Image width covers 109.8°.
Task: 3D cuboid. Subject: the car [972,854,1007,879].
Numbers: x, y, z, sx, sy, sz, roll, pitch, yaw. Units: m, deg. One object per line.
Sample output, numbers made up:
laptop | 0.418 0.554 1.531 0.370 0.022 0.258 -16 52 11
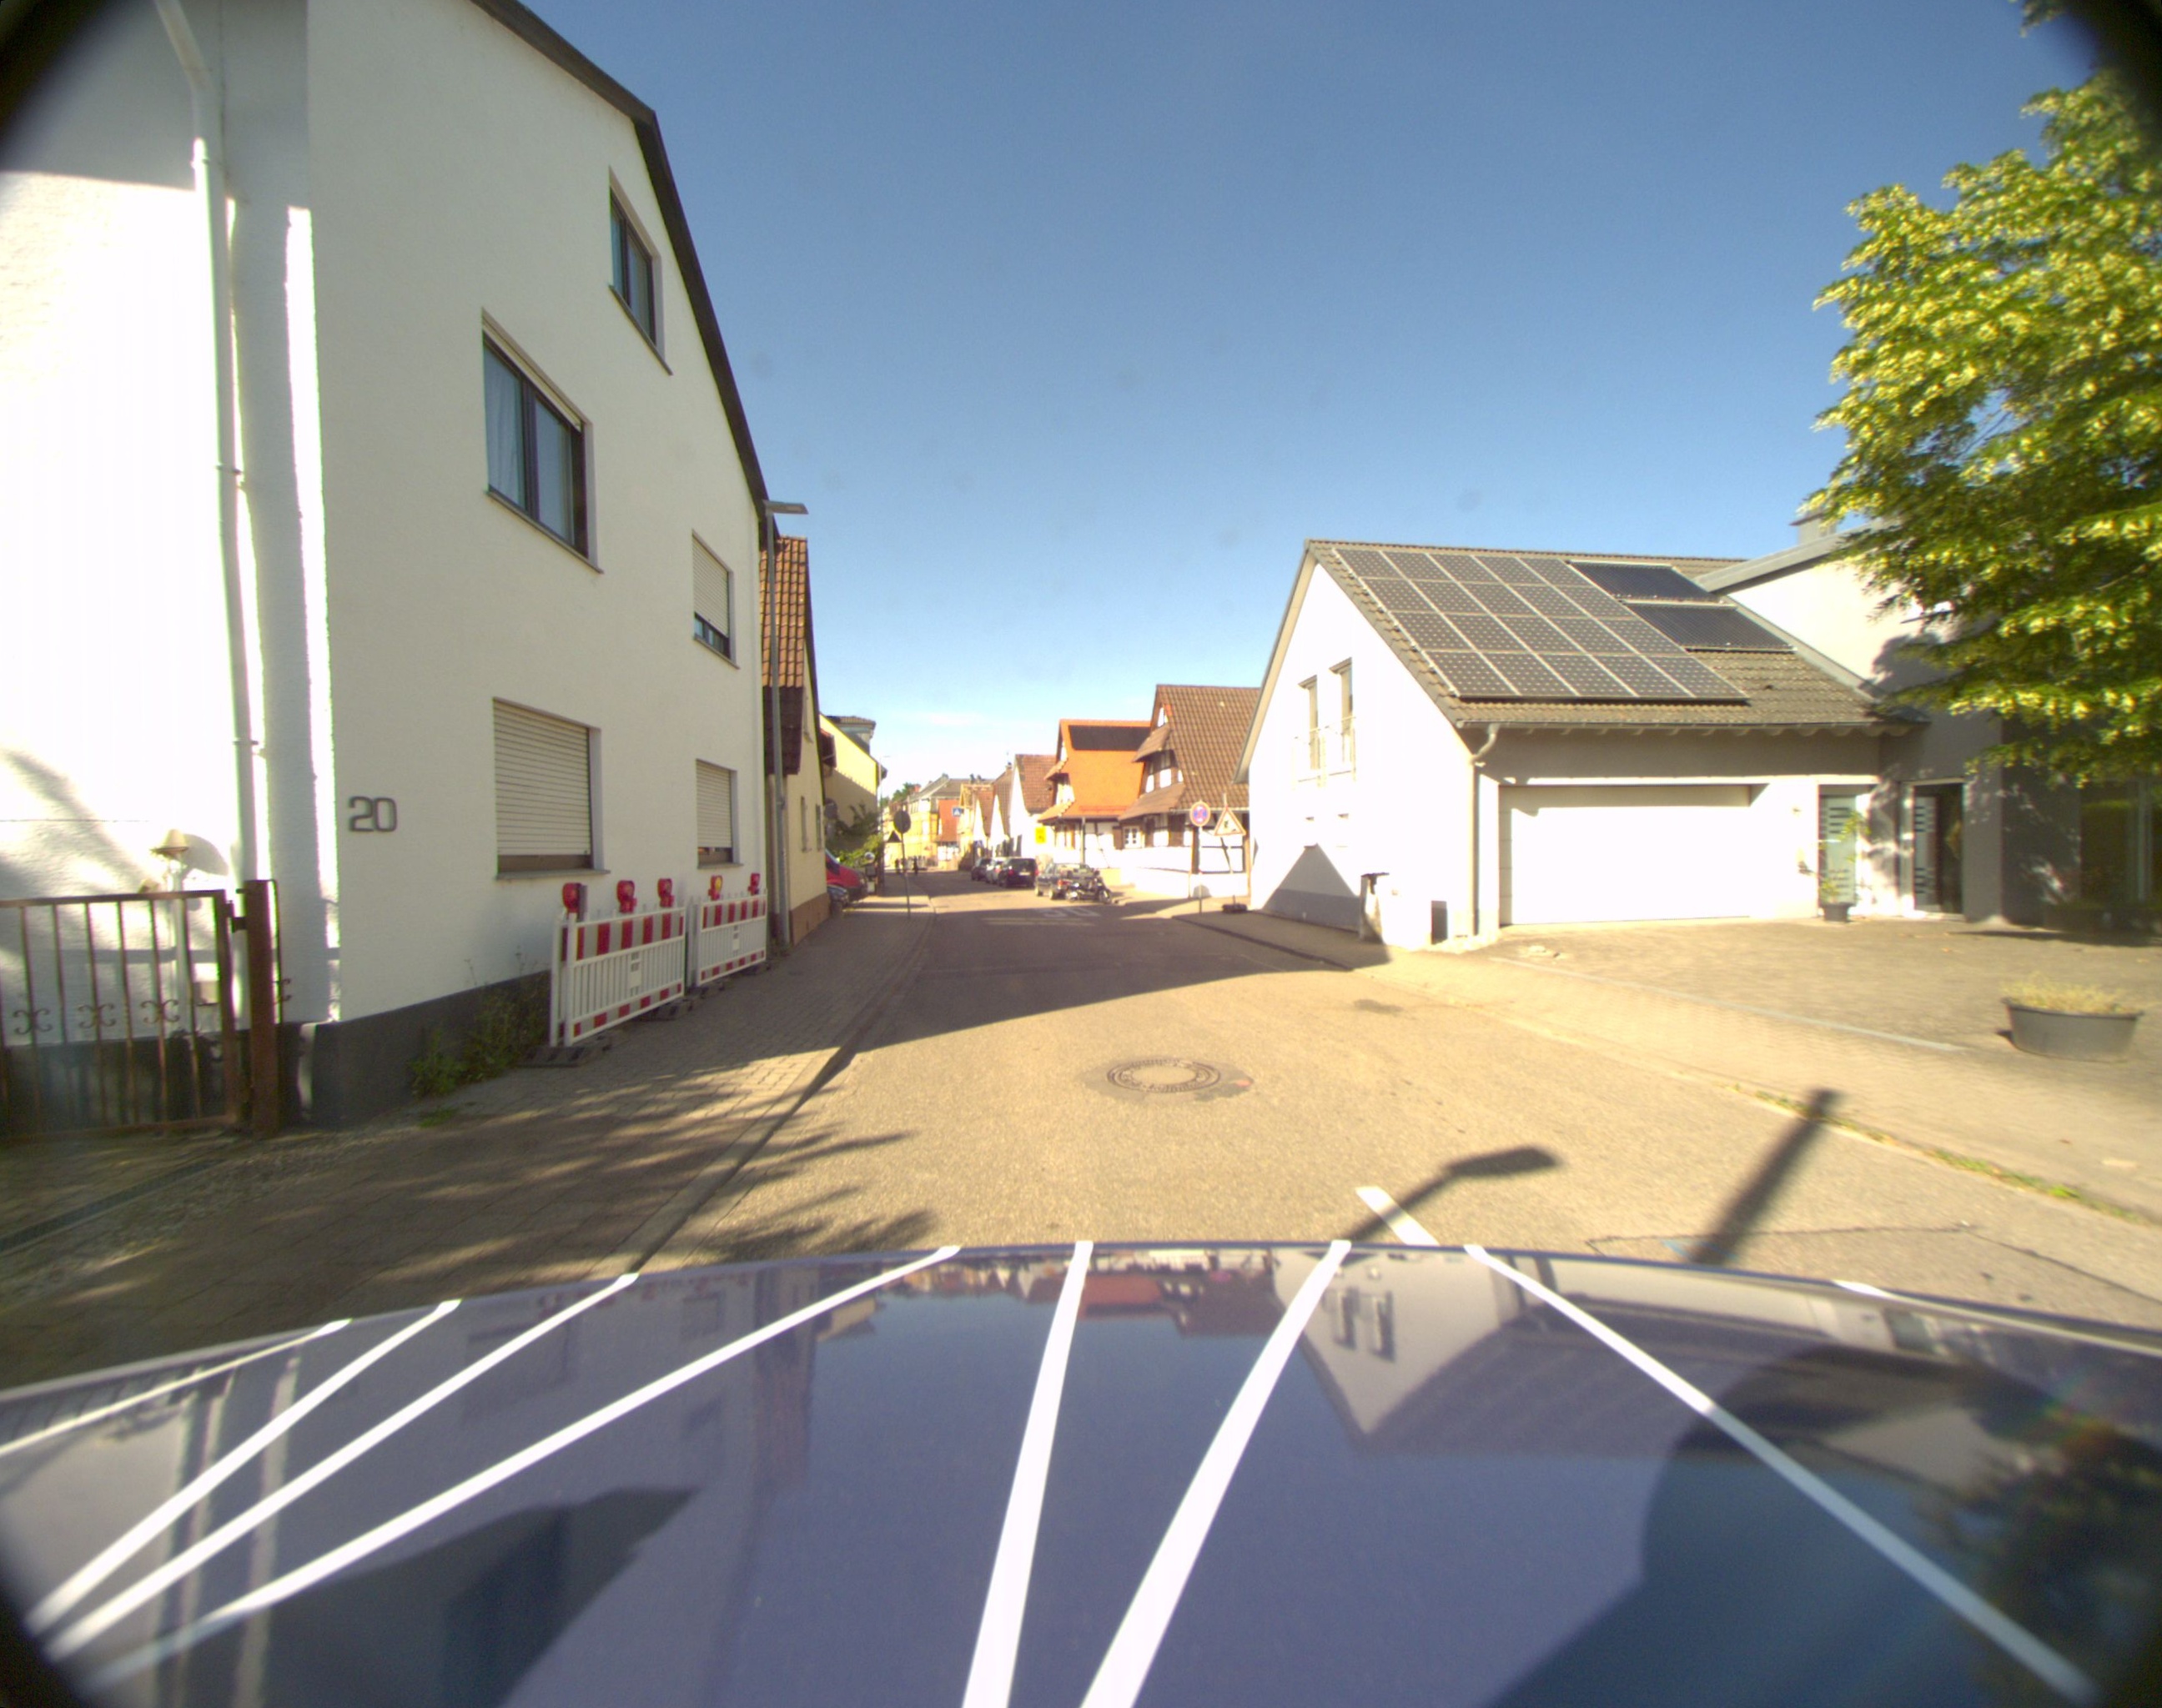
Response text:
car | -6.280 0.826 52.039 1.749 1.604 3.994 -1 1 -16

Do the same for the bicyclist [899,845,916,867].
bicyclist | -18.782 0.179 82.255 1.259 2.295 1.240 -4 3 -29

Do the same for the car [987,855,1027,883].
car | -4.501 0.848 45.495 1.823 1.558 4.162 -1 1 -14

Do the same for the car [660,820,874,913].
car | -9.434 0.366 23.335 5.827 2.640 1.964 1 1 -17

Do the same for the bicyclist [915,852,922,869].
bicyclist | -15.595 0.628 72.889 0.611 1.525 0.654 -4 2 -15

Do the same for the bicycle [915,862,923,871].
bicycle | -15.563 1.186 72.888 0.625 0.775 1.910 -4 2 -16

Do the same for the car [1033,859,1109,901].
car | -0.500 0.928 29.157 1.851 1.398 5.029 0 1 -14

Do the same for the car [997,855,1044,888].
car | -3.269 0.854 40.351 1.790 1.595 4.355 -1 1 -14

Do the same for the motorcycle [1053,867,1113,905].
motorcycle | 0.072 1.071 25.842 1.989 1.224 0.628 0 0 31

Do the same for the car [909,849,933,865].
car | -19.781 0.344 93.623 1.884 1.870 4.825 0 1 -24

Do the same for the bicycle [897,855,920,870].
bicycle | -18.712 0.908 82.231 1.259 1.543 3.990 -4 2 -29

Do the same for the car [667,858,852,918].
car | -8.536 0.902 20.583 4.391 1.478 1.837 1 1 -15
